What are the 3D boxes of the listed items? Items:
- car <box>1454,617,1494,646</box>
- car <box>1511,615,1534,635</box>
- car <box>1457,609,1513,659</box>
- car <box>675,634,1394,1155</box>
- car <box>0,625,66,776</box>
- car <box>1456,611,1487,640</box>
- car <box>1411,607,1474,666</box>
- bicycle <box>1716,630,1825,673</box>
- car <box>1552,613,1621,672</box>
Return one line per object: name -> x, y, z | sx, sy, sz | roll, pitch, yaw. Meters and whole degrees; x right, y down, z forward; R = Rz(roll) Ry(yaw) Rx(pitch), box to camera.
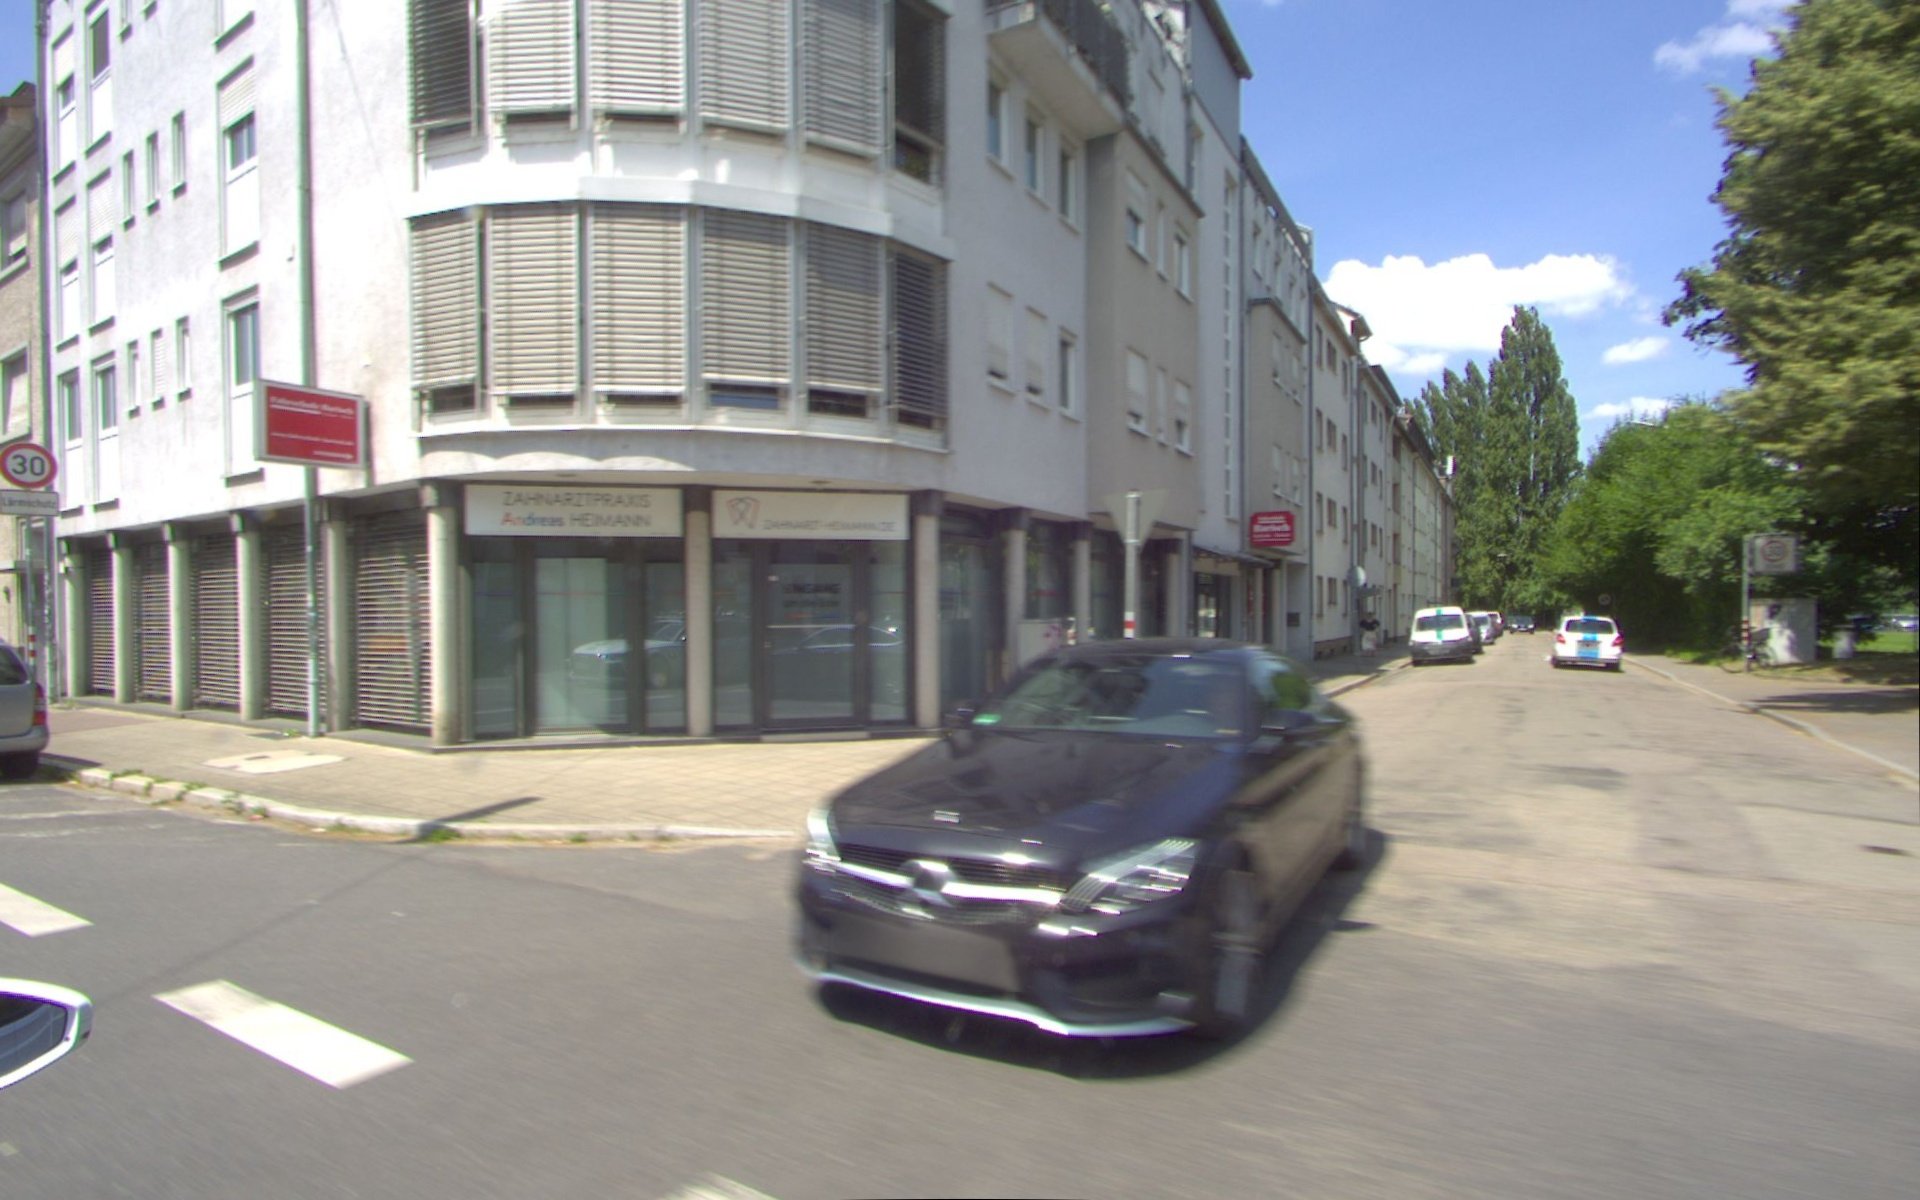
car -> 27.264, 1.643, 53.083 | 1.604, 1.454, 3.988 | -2, -2, 31
car -> 48.330, 2.150, 86.031 | 1.581, 1.717, 3.980 | -1, -1, 32
car -> 19.774, 1.263, 37.654 | 1.604, 1.757, 4.776 | -2, -2, 30
car -> 0.915, 0.900, 5.265 | 1.970, 1.383, 4.575 | 0, -1, 31
car -> -11.267, 0.989, 10.527 | 4.082, 1.473, 1.675 | -1, -2, 31
car -> 30.396, 1.509, 59.460 | 1.559, 1.683, 3.713 | -1, -1, 29
car -> 15.668, 1.167, 32.429 | 1.603, 1.757, 4.368 | -3, -2, 28
bicycle -> 20.035, 1.291, 24.780 | 0.697, 0.812, 1.910 | 0, -9, -37
car -> 17.968, 1.191, 28.845 | 1.547, 1.575, 3.982 | -1, -1, 30
